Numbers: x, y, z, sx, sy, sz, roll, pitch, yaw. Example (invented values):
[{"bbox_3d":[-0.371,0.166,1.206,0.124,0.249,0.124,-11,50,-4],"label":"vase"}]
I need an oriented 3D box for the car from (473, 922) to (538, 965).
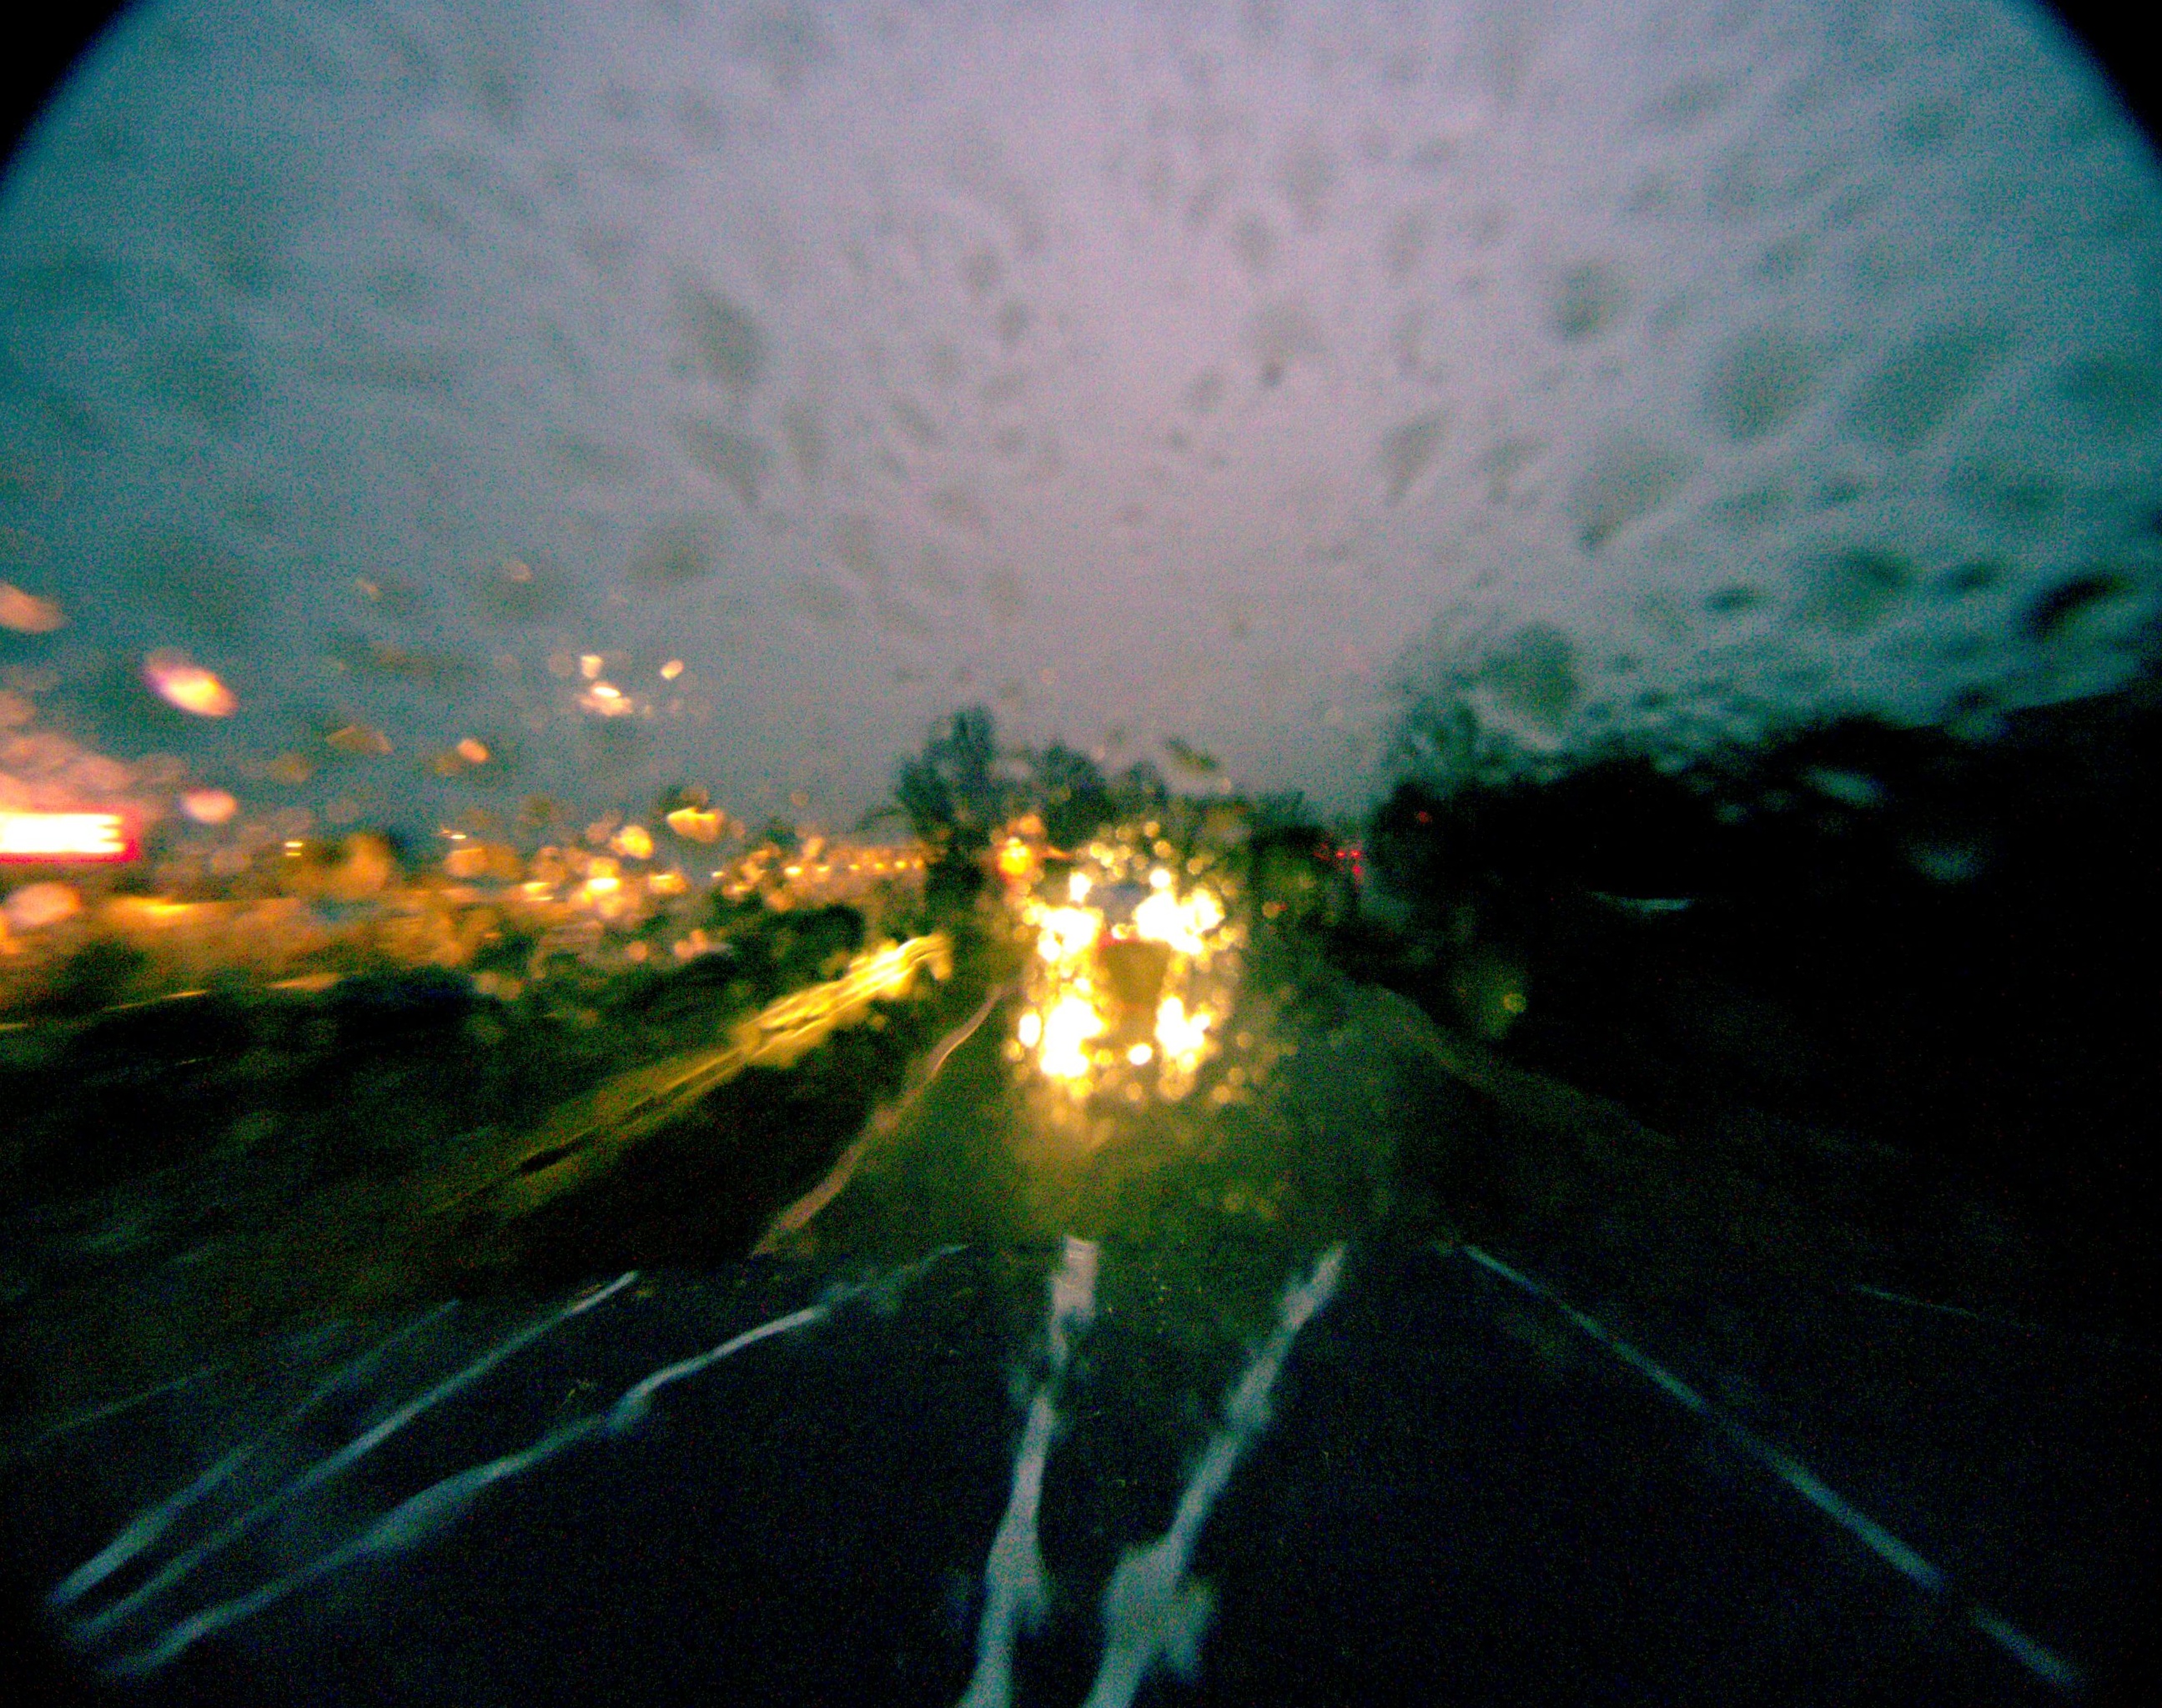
[{"bbox_3d":[-24.455,3.759,32.402,1.601,1.339,3.624,-3,0,-29],"label":"car"}]

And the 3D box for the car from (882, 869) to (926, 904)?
[{"bbox_3d":[-13.764,2.434,58.757,2.283,2.426,5.229,-2,1,-24],"label":"car"}]

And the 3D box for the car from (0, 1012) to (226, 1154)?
[{"bbox_3d":[-15.231,3.332,10.619,4.006,1.412,1.628,-3,1,-32],"label":"car"}]

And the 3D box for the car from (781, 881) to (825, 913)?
[{"bbox_3d":[-19.236,2.939,52.434,1.890,1.946,4.949,-4,0,-30],"label":"car"}]

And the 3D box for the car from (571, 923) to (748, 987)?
[{"bbox_3d":[-13.244,3.145,24.188,4.710,1.388,1.900,-2,1,-26],"label":"car"}]

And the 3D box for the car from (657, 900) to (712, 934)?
[{"bbox_3d":[-22.128,3.490,42.363,1.805,1.586,3.969,-3,0,-40],"label":"car"}]

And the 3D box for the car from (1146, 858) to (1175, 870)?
[{"bbox_3d":[11.538,1.378,109.753,4.008,1.588,1.807,-2,1,9],"label":"car"}]

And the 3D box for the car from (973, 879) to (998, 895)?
[{"bbox_3d":[-9.147,3.175,72.962,1.531,1.330,3.581,-2,1,-21],"label":"car"}]

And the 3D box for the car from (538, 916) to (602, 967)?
[{"bbox_3d":[-20.389,3.429,30.464,1.808,1.526,4.533,-3,0,-31],"label":"car"}]

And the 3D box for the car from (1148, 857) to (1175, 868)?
[{"bbox_3d":[12.235,1.348,115.689,4.008,1.523,1.716,-2,1,9],"label":"car"}]

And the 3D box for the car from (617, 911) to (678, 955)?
[{"bbox_3d":[-19.592,3.514,34.274,1.829,1.629,4.460,-3,-1,-36],"label":"car"}]

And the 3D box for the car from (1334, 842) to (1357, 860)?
[{"bbox_3d":[25.847,-0.297,74.269,1.697,1.569,3.888,-2,1,13],"label":"car"}]

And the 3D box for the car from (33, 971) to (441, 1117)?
[{"bbox_3d":[-14.886,3.275,13.909,4.595,1.447,1.926,-3,1,-34],"label":"car"}]

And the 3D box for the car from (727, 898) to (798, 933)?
[{"bbox_3d":[-16.974,3.253,40.497,3.262,1.526,1.389,-4,0,-28],"label":"car"}]

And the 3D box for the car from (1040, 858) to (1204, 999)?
[{"bbox_3d":[0.554,0.890,11.000,1.809,1.452,4.246,-4,1,2],"label":"car"}]

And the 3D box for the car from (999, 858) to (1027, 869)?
[{"bbox_3d":[-10.629,1.539,119.194,4.007,1.588,1.808,-2,1,13],"label":"car"}]

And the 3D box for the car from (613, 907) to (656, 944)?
[{"bbox_3d":[-22.974,3.614,39.057,1.730,1.493,4.017,-2,0,-32],"label":"car"}]

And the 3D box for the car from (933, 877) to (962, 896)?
[{"bbox_3d":[-11.444,2.785,65.070,1.716,1.404,4.006,-2,1,-21],"label":"car"}]

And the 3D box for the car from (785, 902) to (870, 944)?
[{"bbox_3d":[-11.060,2.985,33.417,1.770,1.421,3.815,-2,1,13],"label":"car"}]

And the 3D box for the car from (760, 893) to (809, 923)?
[{"bbox_3d":[-17.409,3.151,44.551,1.723,1.508,3.250,-4,1,-38],"label":"car"}]

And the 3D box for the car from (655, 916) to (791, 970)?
[{"bbox_3d":[-12.691,3.106,27.082,4.185,1.388,1.847,-2,1,-26],"label":"car"}]

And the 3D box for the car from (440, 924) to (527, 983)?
[{"bbox_3d":[-21.440,3.515,27.399,1.601,1.576,3.625,-3,0,-25],"label":"car"}]

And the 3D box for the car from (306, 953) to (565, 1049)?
[{"bbox_3d":[-14.555,3.274,17.498,4.186,1.388,1.900,-2,1,-28],"label":"car"}]
